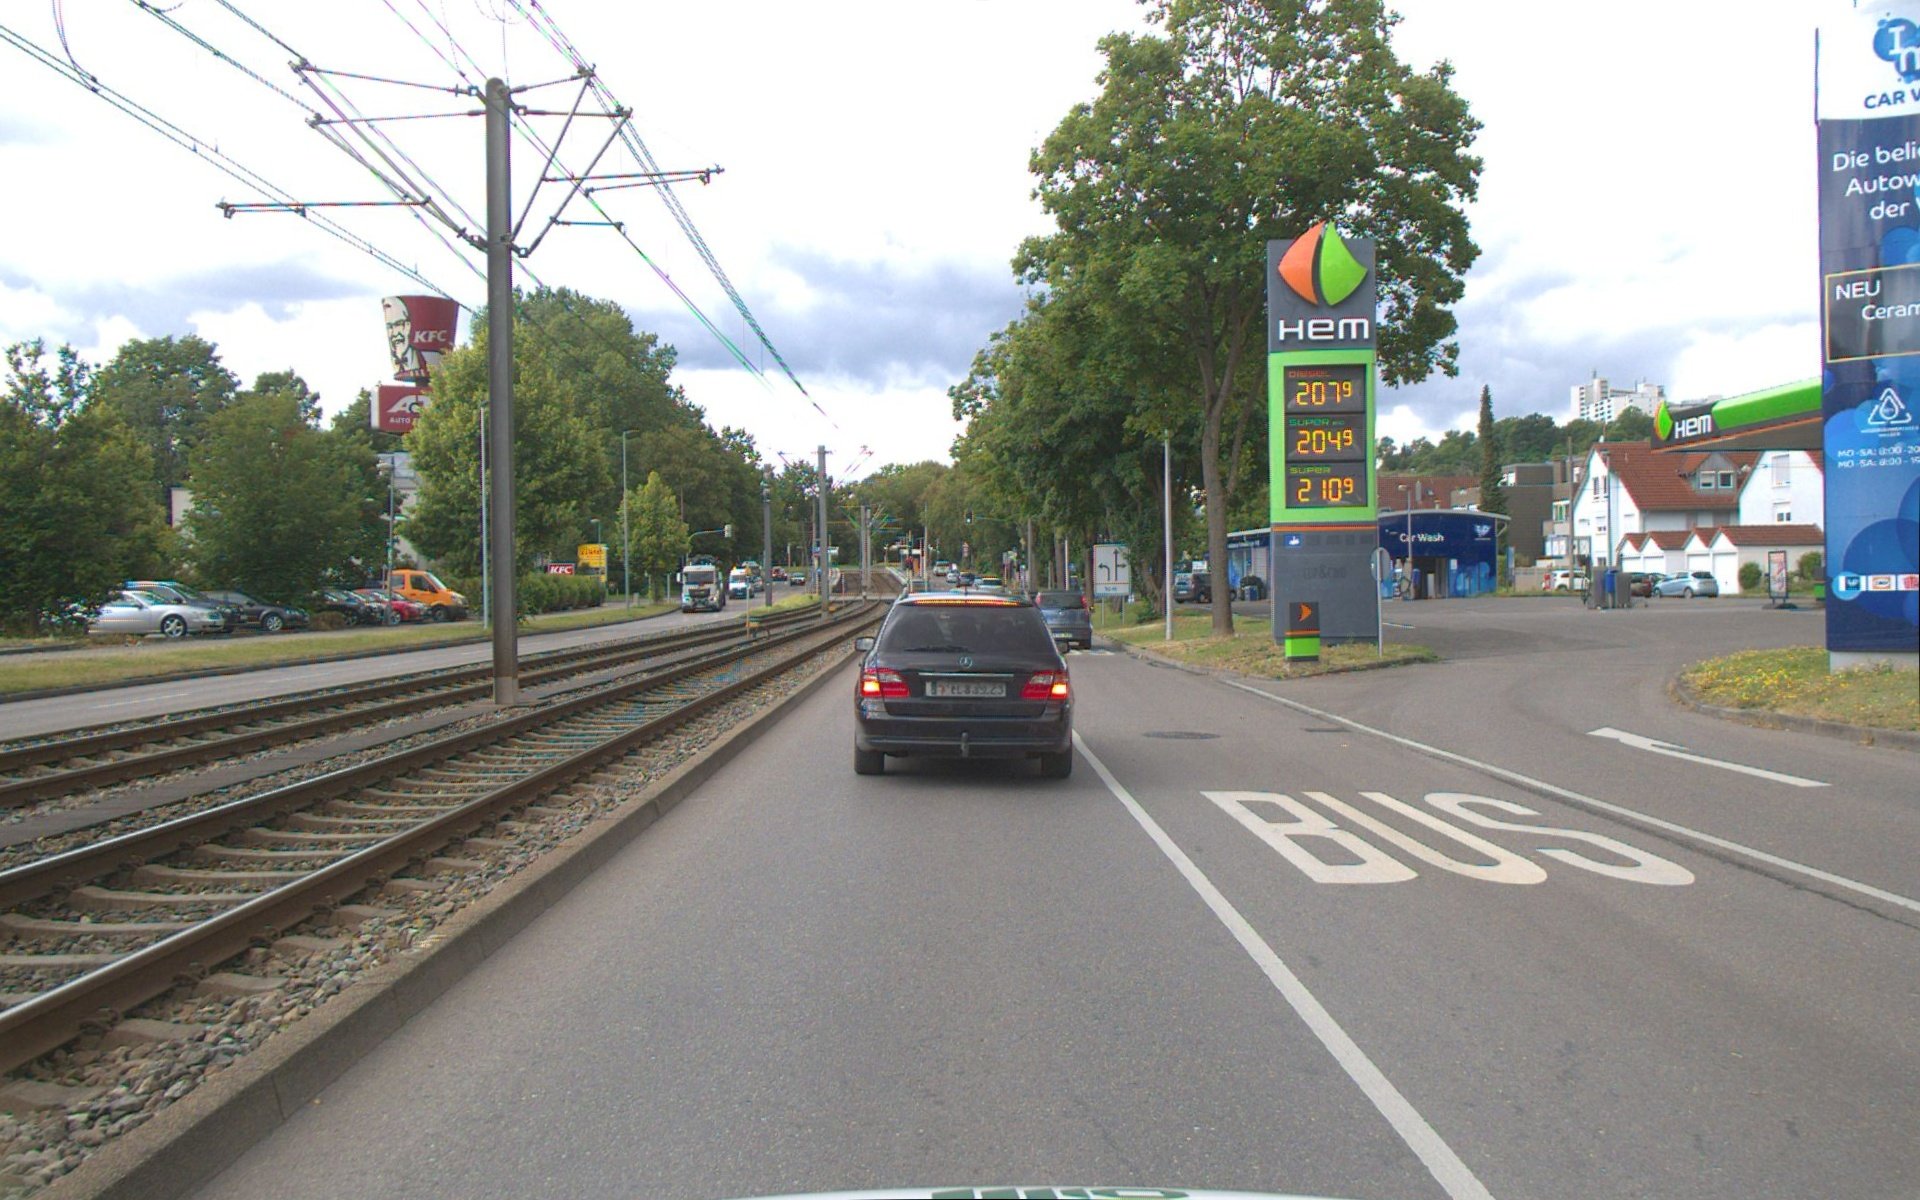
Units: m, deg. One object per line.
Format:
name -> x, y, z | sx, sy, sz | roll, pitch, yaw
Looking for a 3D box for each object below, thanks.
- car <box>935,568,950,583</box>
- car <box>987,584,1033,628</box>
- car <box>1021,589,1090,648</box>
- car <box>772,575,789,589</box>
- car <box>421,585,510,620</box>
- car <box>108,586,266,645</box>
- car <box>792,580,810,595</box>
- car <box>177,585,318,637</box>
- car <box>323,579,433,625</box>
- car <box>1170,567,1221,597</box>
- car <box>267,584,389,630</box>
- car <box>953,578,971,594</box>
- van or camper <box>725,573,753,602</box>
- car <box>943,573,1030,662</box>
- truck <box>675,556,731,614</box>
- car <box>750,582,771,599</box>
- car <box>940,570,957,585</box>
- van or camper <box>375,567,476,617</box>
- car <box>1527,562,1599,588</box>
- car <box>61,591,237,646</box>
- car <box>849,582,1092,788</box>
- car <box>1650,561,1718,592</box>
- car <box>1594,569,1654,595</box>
car -> -2.325, -3.261, 217.437 | 1.953, 1.870, 3.999 | 1, 0, -1
car -> 1.694, 0.211, 56.819 | 1.436, 1.439, 3.354 | 1, 0, -1
car -> 2.461, 0.470, 43.005 | 1.539, 1.439, 3.354 | 1, 0, -1
car -> -23.430, -2.340, 215.992 | 1.729, 1.676, 3.770 | 1, 0, -1
car -> -24.437, 0.115, 81.806 | 3.909, 1.627, 1.795 | -1, 0, -5
car -> -23.574, 0.449, 50.576 | 3.909, 1.663, 1.876 | -1, 0, -5
car -> -18.151, -1.423, 188.836 | 1.729, 1.676, 3.770 | 1, 0, -1
car -> -23.865, 0.355, 55.505 | 3.909, 1.627, 1.876 | -1, 0, -5
car -> -23.933, 0.078, 68.096 | 3.909, 1.829, 1.876 | 0, 0, -5
car -> 14.411, -1.115, 101.004 | 1.965, 1.712, 4.578 | -1, 1, 23
car -> -23.923, 0.247, 62.734 | 3.909, 1.627, 1.876 | -1, 0, -5
car -> 0.236, -1.465, 174.039 | 1.634, 1.559, 3.768 | 1, 0, -4
van or camper -> -19.453, -1.093, 145.782 | 1.954, 2.395, 5.763 | -1, 0, -3
car -> 0.529, 0.364, 35.541 | 1.744, 1.781, 3.717 | 1, 0, -1
truck -> -17.655, -1.011, 114.275 | 2.652, 3.727, 11.104 | -1, 0, -3
car -> -20.624, -0.968, 170.826 | 1.729, 1.676, 3.770 | 1, 0, -1
car -> -1.397, -2.624, 194.409 | 1.953, 1.744, 4.000 | -1, 1, -1
van or camper -> -23.615, -0.343, 73.236 | 3.909, 2.172, 1.876 | 0, 0, -5
car -> 40.357, -1.667, 110.768 | 4.131, 1.713, 1.776 | 1, 0, -3
car -> -23.474, 0.519, 47.953 | 4.221, 1.497, 1.679 | -1, 0, -3
car -> 0.062, 0.606, 14.051 | 1.771, 1.500, 3.880 | 0, 1, -1
car -> 39.149, -1.258, 89.505 | 1.506, 1.627, 3.725 | 1, 0, -13
car -> 37.887, -1.011, 94.459 | 1.553, 1.418, 3.407 | 1, 0, -13
